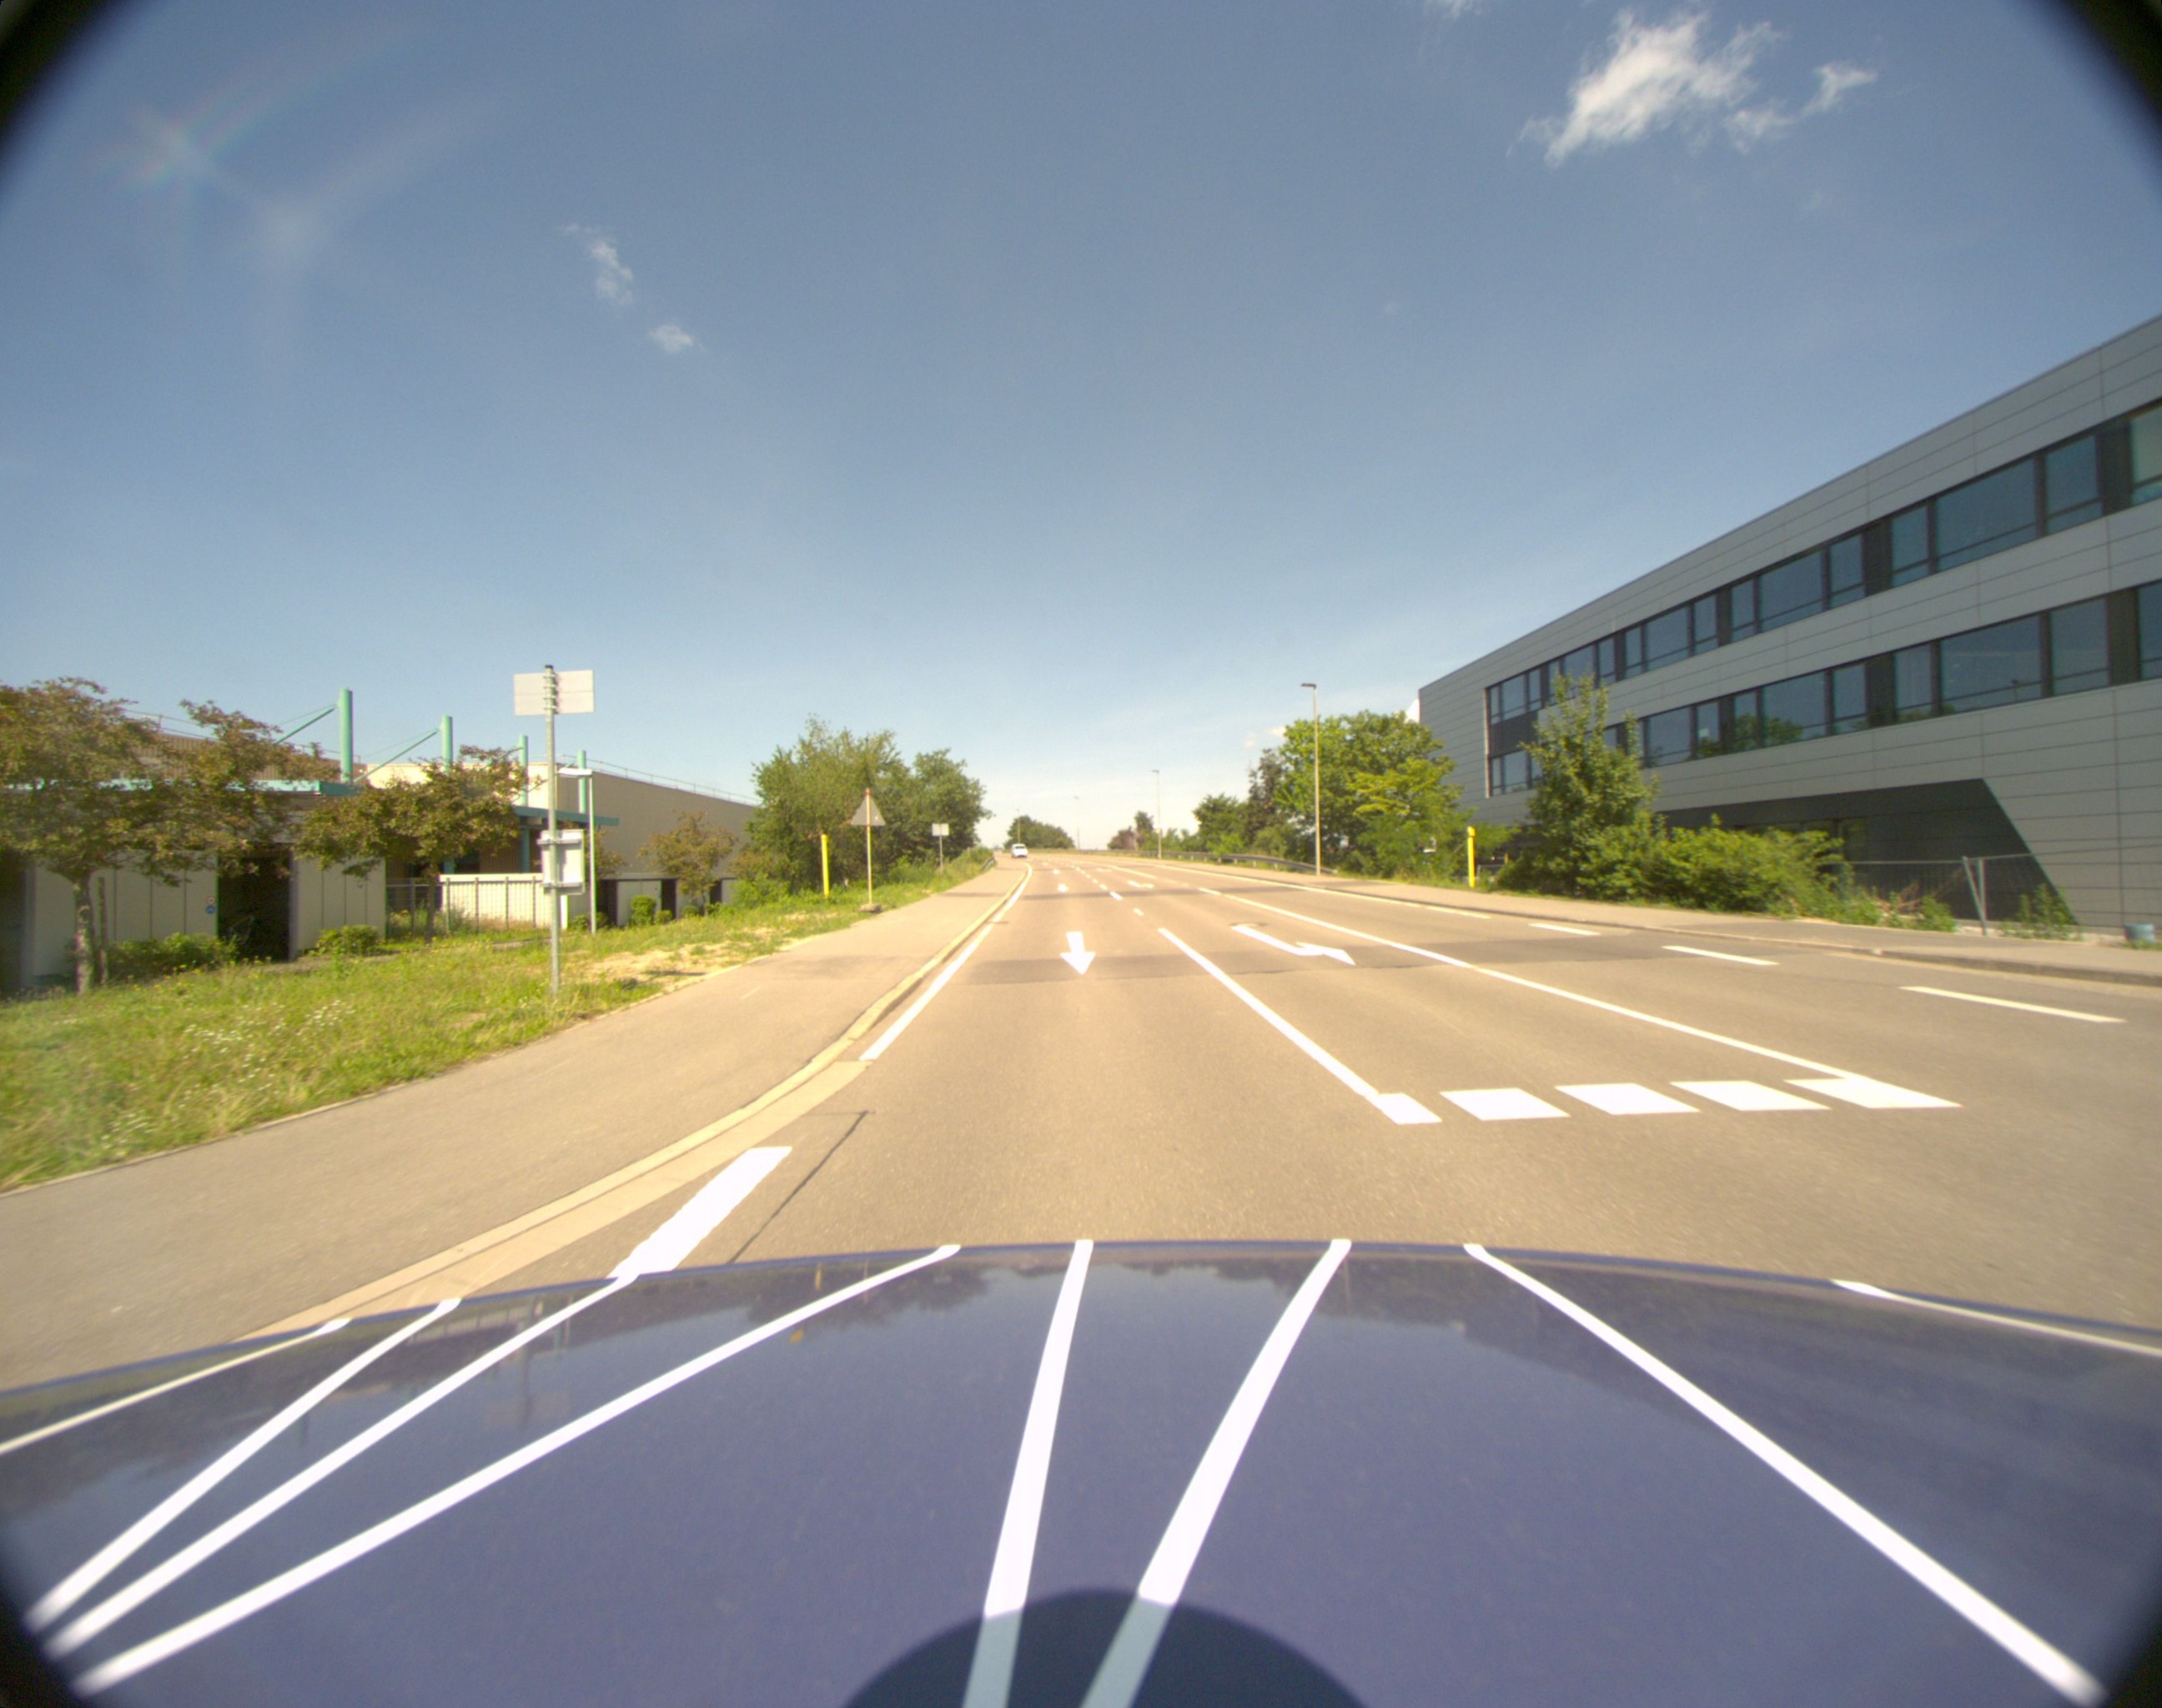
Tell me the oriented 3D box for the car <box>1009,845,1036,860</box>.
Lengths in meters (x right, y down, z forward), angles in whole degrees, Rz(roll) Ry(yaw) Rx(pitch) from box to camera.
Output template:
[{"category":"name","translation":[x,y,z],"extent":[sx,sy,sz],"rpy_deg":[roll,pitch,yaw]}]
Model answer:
[{"category":"car","translation":[-8.070,-0.217,104.133],"extent":[2.096,1.751,4.274],"rpy_deg":[-9,3,-26]}]
